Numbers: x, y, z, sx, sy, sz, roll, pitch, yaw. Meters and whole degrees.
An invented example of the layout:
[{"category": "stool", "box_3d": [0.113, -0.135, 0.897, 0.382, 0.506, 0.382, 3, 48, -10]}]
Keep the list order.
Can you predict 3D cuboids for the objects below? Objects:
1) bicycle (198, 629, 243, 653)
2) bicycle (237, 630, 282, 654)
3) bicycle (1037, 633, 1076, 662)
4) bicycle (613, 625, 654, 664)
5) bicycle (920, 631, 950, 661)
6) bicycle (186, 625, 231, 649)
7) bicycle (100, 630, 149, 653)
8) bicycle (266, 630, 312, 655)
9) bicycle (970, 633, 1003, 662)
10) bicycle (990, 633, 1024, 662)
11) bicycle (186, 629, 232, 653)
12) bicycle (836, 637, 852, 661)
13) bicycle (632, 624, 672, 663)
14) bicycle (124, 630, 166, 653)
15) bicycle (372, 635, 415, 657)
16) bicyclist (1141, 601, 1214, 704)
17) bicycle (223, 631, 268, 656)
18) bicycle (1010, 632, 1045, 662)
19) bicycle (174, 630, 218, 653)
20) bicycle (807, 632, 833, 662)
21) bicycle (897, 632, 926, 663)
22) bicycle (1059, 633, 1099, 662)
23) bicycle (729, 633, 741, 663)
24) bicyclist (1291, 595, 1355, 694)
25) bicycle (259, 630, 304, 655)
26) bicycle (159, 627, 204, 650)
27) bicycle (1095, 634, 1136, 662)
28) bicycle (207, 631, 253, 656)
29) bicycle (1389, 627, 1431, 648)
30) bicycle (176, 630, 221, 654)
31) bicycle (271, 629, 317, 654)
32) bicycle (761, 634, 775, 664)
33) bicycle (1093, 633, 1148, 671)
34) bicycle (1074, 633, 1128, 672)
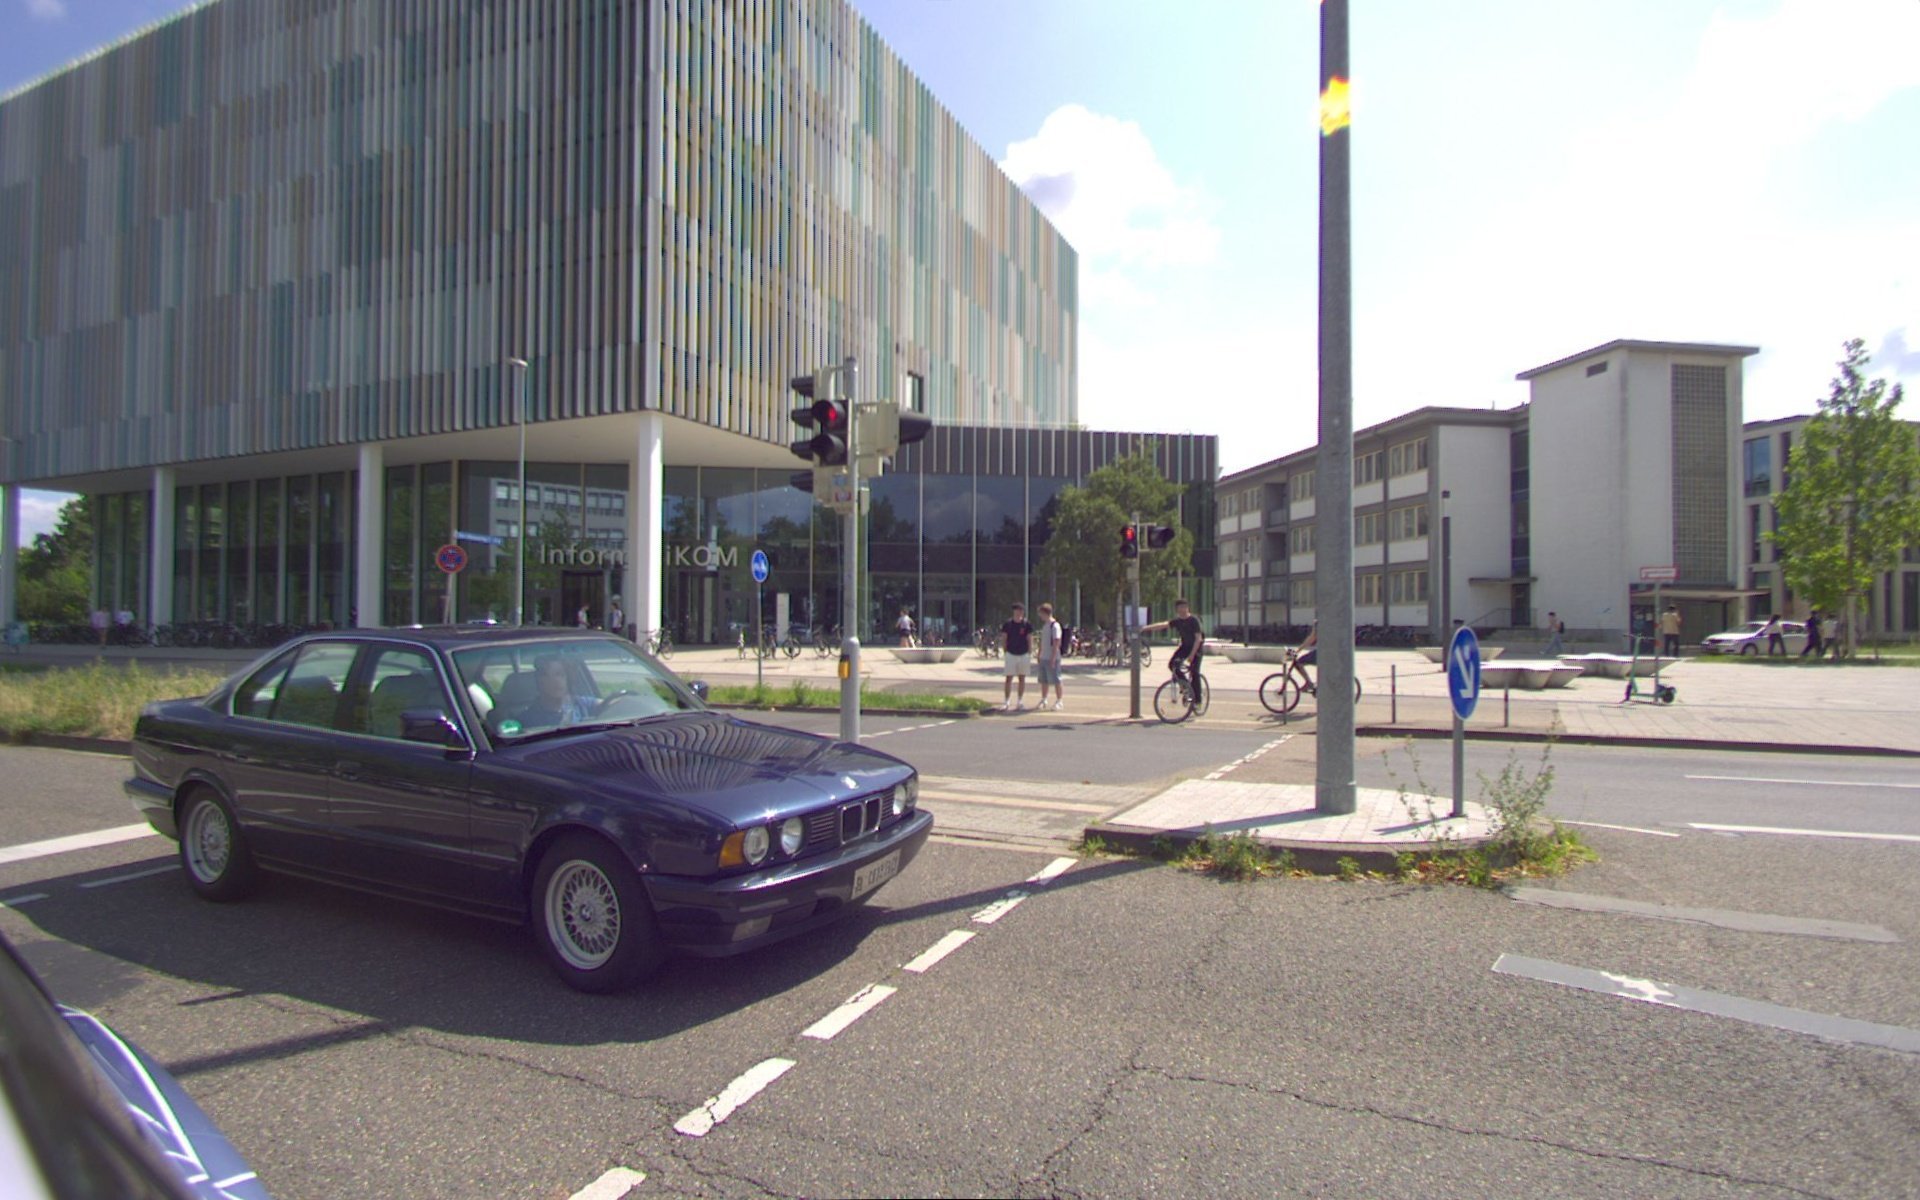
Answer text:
[{"category": "bicycle", "box_3d": [-31.767, 1.768, 43.506, 0.373, 0.962, 1.526, -1, 0, 39]}, {"category": "bicycle", "box_3d": [-29.552, 1.761, 42.717, 0.373, 0.962, 1.526, -1, 0, 39]}, {"category": "bicycle", "box_3d": [3.406, 1.666, 35.911, 0.520, 0.962, 1.779, 0, -1, -27]}, {"category": "bicycle", "box_3d": [-10.726, 1.453, 33.326, 0.371, 1.196, 1.534, 0, 0, 23]}, {"category": "bicycle", "box_3d": [-0.878, 1.574, 35.109, 0.520, 0.962, 1.779, -3, 0, -18]}, {"category": "bicycle", "box_3d": [-32.900, 1.615, 44.332, 0.373, 0.962, 1.526, -1, 0, 39]}, {"category": "bicycle", "box_3d": [-39.119, 1.932, 47.397, 0.430, 0.962, 1.770, -1, 0, 24]}, {"category": "bicycle", "box_3d": [-27.835, 1.762, 42.003, 0.373, 0.962, 1.526, -1, 0, 39]}, {"category": "bicycle", "box_3d": [0.909, 1.665, 35.654, 0.520, 0.962, 1.779, 0, -1, -21]}, {"category": "bicycle", "box_3d": [1.661, 1.653, 35.703, 0.520, 0.962, 1.779, 0, -1, -21]}, {"category": "bicycle", "box_3d": [-32.552, 1.757, 43.880, 0.373, 0.962, 1.526, -1, 0, 39]}, {"category": "bicycle", "box_3d": [-3.946, 1.656, 34.430, 0.521, 0.770, 1.776, 0, -1, -7]}, {"category": "bicycle", "box_3d": [-10.089, 1.426, 33.166, 0.371, 1.196, 1.534, 0, 1, 23]}, {"category": "bicycle", "box_3d": [-36.072, 1.844, 44.798, 0.370, 0.962, 1.540, -1, 0, 13]}, {"category": "bicycle", "box_3d": [-22.378, 1.799, 39.975, 0.372, 0.782, 1.532, -1, 0, 28]}, {"category": "bicyclist", "box_3d": [3.502, 0.833, 16.315, 0.984, 1.628, 0.658, 0, -1, -4]}, {"category": "bicycle", "box_3d": [-30.160, 1.826, 42.734, 0.373, 0.962, 1.526, -1, 0, 39]}, {"category": "bicycle", "box_3d": [2.375, 1.645, 35.691, 0.520, 0.962, 1.779, 0, -1, -21]}, {"category": "bicycle", "box_3d": [-33.823, 1.841, 44.831, 0.373, 0.962, 1.526, -1, 0, 39]}, {"category": "bicycle", "box_3d": [-4.751, 1.586, 34.423, 0.522, 0.962, 1.771, 0, -1, 5]}, {"category": "bicycle", "box_3d": [-1.679, 1.621, 34.792, 0.520, 0.962, 1.779, 0, 0, -18]}, {"category": "bicycle", "box_3d": [4.201, 1.663, 35.918, 0.520, 0.962, 1.779, 0, -1, -27]}, {"category": "bicycle", "box_3d": [-7.530, 1.601, 33.833, 0.367, 0.962, 1.550, 0, -1, -14]}, {"category": "bicyclist", "box_3d": [5.855, 0.709, 16.345, 0.775, 1.550, 0.657, 0, -1, 1]}, {"category": "bicycle", "box_3d": [-28.412, 1.777, 42.368, 0.373, 0.962, 1.526, -1, 0, 39]}, {"category": "bicycle", "box_3d": [-34.931, 1.721, 45.422, 0.373, 0.962, 1.526, -1, 0, 39]}, {"category": "bicycle", "box_3d": [5.538, 1.695, 36.094, 0.520, 0.962, 1.779, 0, -1, -27]}, {"category": "bicycle", "box_3d": [-30.896, 1.832, 42.838, 0.373, 0.962, 1.526, -1, 0, 39]}, {"category": "bicycle", "box_3d": [21.250, 1.788, 47.834, 1.748, 0.962, 0.529, 0, 0, 0]}, {"category": "bicycle", "box_3d": [-33.507, 1.847, 44.553, 0.373, 0.962, 1.526, -1, 0, 39]}, {"category": "bicycle", "box_3d": [-27.403, 1.687, 41.656, 0.373, 0.962, 1.526, -1, 0, 39]}, {"category": "bicycle", "box_3d": [-6.524, 1.653, 34.284, 0.367, 0.962, 1.778, 0, -1, -14]}, {"category": "bicycle", "box_3d": [4.340, 1.384, 27.444, 0.520, 0.962, 1.779, 0, -1, -27]}, {"category": "bicycle", "box_3d": [3.786, 1.393, 27.243, 0.520, 0.962, 1.779, 0, -1, -27]}]
